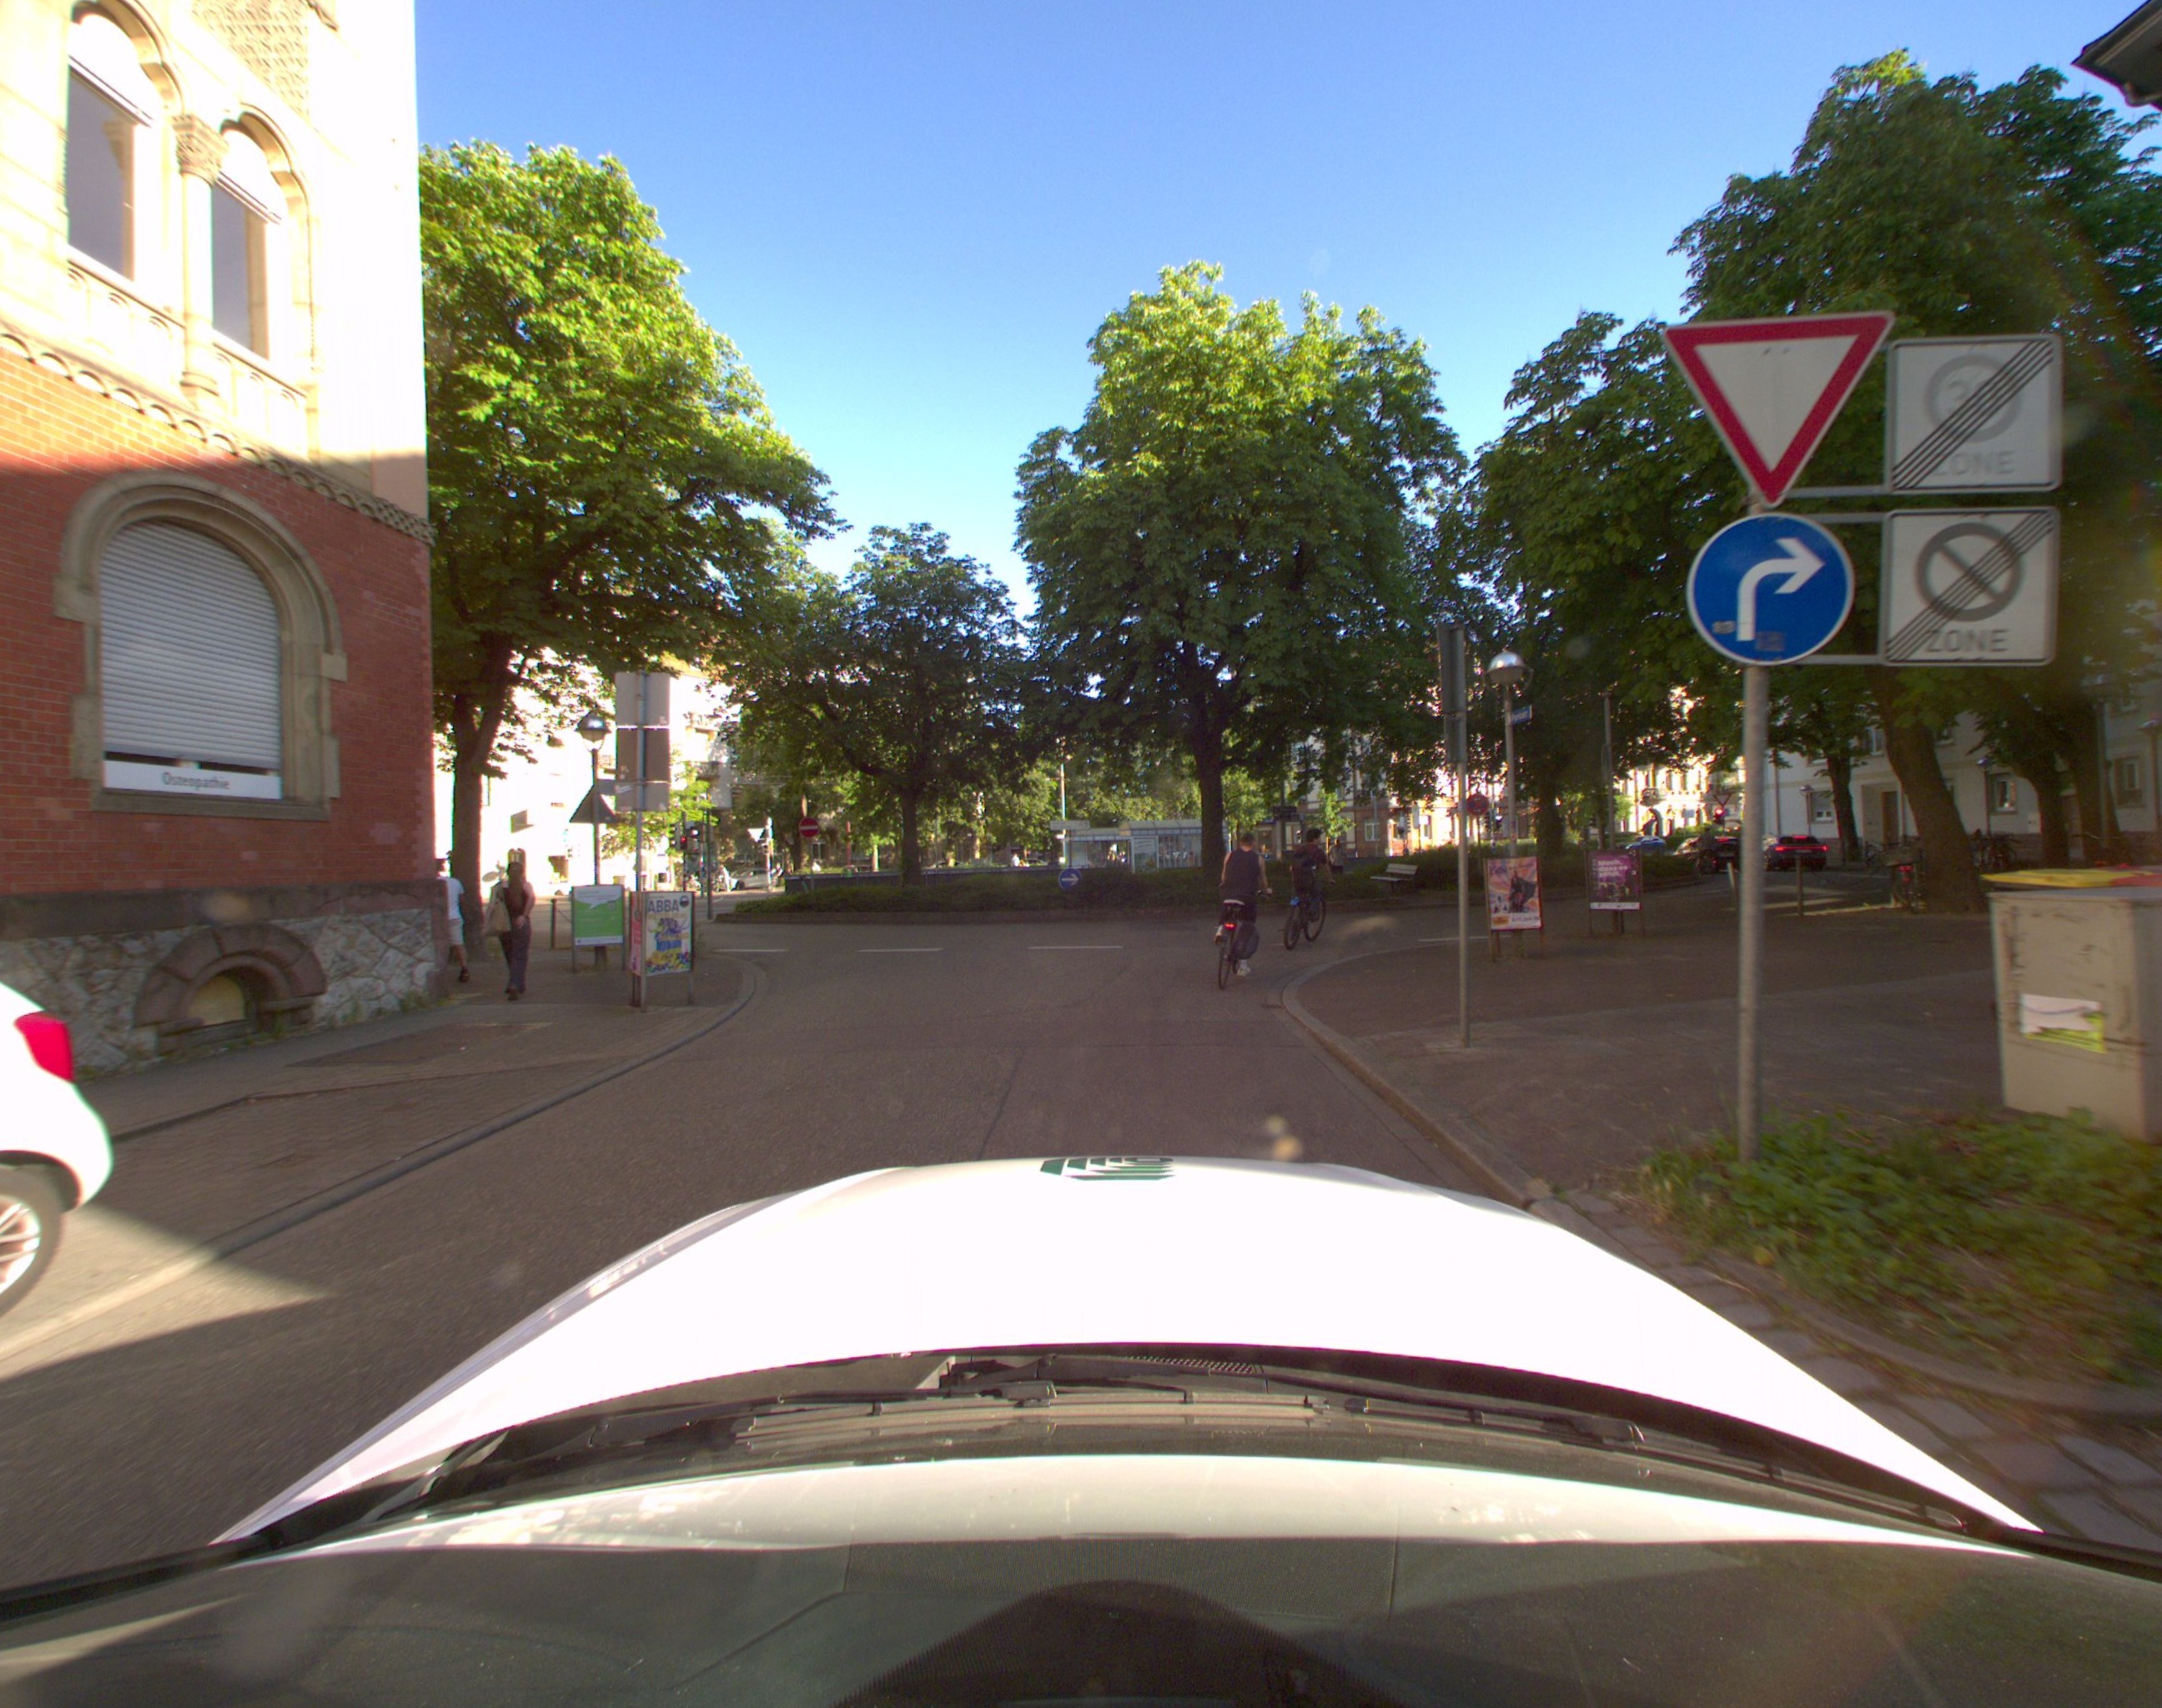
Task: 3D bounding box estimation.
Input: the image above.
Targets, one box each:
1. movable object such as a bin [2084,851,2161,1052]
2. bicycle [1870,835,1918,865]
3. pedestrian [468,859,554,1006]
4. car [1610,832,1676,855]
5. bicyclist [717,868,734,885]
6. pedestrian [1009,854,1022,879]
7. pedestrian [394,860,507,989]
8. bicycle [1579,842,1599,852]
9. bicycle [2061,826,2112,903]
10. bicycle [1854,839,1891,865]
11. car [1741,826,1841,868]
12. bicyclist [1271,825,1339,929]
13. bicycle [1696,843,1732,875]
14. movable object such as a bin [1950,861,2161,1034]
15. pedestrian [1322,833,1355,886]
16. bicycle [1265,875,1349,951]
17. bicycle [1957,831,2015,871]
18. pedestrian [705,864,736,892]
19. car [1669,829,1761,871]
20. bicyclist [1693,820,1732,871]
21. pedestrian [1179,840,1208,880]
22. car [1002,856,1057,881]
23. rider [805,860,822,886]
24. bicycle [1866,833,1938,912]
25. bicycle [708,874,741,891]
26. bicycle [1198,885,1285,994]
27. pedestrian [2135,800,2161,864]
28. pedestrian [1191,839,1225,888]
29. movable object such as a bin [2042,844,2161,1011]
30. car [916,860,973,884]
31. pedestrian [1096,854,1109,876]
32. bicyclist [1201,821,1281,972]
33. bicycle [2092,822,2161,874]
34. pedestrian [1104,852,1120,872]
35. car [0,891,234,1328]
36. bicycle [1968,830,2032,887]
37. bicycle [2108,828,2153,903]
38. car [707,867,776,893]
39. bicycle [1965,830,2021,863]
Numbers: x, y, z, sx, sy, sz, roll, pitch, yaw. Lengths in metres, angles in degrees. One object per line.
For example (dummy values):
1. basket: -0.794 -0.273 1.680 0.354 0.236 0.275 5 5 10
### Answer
1. movable object such as a bin: 6.633 0.562 4.718 0.734 1.153 0.702 -2 0 2
2. bicycle: 30.699 -0.152 30.763 0.610 1.058 1.940 -4 -1 25
3. pedestrian: -6.679 0.881 9.576 0.602 1.605 0.848 -2 0 -22
4. car: 44.092 -0.837 63.944 4.373 1.496 1.988 -4 0 -18
5. bicyclist: -21.674 1.369 49.642 0.604 1.054 0.681 -2 0 29
6. pedestrian: -4.476 0.849 55.409 0.704 1.695 0.666 0 0 -20
7. pedestrian: -8.578 0.925 11.119 0.867 1.643 0.857 -2 0 -10
8. bicycle: 43.294 -0.588 69.351 1.439 0.861 0.450 -2 0 -3
9. bicycle: 16.521 0.156 13.371 1.793 1.181 0.433 -2 0 -37
10. bicycle: 31.328 -0.093 32.246 0.515 0.999 2.205 -3 0 31
11. car: 29.571 -0.290 34.071 1.875 1.577 4.021 -2 0 22
12. bicyclist: 3.445 0.341 12.505 0.665 1.514 1.076 -3 -2 31
13. bicycle: 24.043 0.178 30.962 0.592 1.161 2.053 -2 0 25
14. movable object such as a bin: 6.569 0.593 5.484 0.654 1.064 0.695 -2 0 2
15. pedestrian: 8.558 0.181 27.124 0.909 1.684 0.782 -2 0 11
16. bicycle: 3.545 0.873 12.622 0.667 1.054 2.074 -3 -2 31
17. bicycle: 27.024 -0.098 24.341 0.610 1.113 2.005 -6 -2 34
18. pedestrian: -25.694 1.719 58.104 1.244 1.912 1.503 -2 0 28
19. car: 26.546 -0.137 34.246 1.798 1.543 3.978 -4 -2 19
20. bicyclist: 24.053 -0.319 31.027 0.843 1.898 1.146 -3 0 23
21. pedestrian: 5.462 0.294 39.632 1.020 1.897 0.906 -2 0 -20
22. car: -4.263 1.178 67.137 4.005 1.870 1.984 -2 0 -24
23. rider: -17.363 1.225 52.850 0.813 1.681 0.673 0 0 12
24. bicycle: 13.429 0.279 13.311 1.799 1.182 0.549 -2 0 -37
25. bicycle: -21.700 1.748 49.559 0.646 0.945 1.753 -2 0 29
26. bicycle: 1.936 0.935 9.609 0.732 1.012 2.071 0 1 19
27. pedestrian: 30.739 -0.637 22.986 0.984 1.795 0.664 -4 -1 37
28. pedestrian: 4.567 0.344 29.315 0.887 1.684 0.825 -3 0 35
29. movable object such as a bin: 7.376 0.479 5.620 0.626 1.075 0.706 -2 0 2
30. car: -10.561 1.396 63.128 3.971 1.679 1.931 -2 0 -42
31. pedestrian: 1.510 0.767 57.832 0.809 1.543 0.818 0 0 -10
32. bicyclist: 1.897 0.479 9.573 0.746 1.682 0.918 -2 0 19
33. bicycle: 25.383 -0.129 19.503 0.665 1.182 1.832 -5 -3 25
34. pedestrian: 2.657 0.659 69.865 0.991 1.630 1.071 -2 0 28
35. car: -4.650 0.906 1.697 1.698 1.485 3.799 0 0 2
36. bicycle: 20.068 0.089 17.774 2.010 1.158 0.674 -2 -2 -36
37. bicycle: 16.830 0.161 13.071 1.812 1.109 0.388 -2 0 -38
38. car: -21.774 1.664 52.327 1.877 1.439 3.729 -2 0 28
39. bicycle: 32.597 -0.277 29.131 0.576 1.114 2.130 -3 -1 28
